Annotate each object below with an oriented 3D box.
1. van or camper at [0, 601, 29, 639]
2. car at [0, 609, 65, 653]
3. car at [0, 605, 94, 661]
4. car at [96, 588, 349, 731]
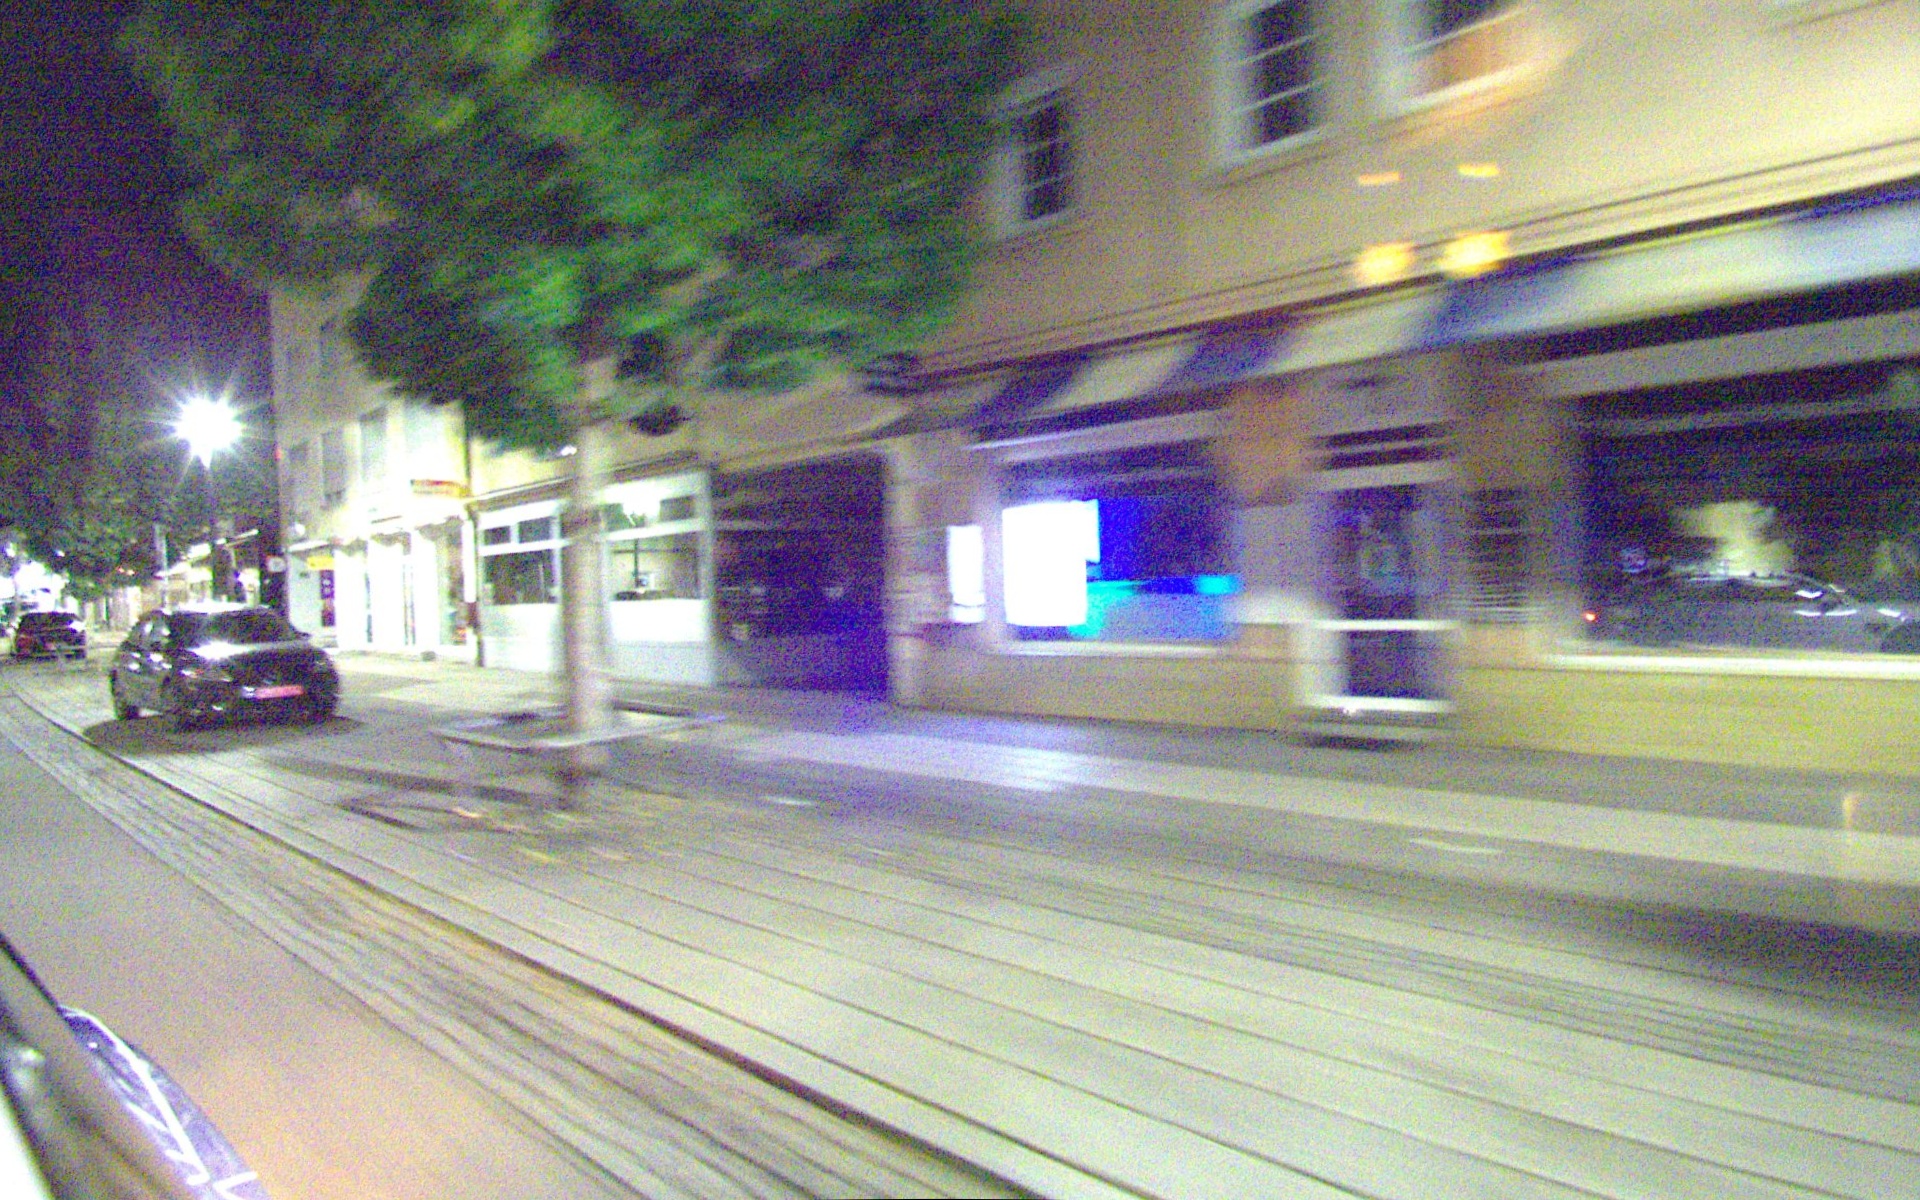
[{"bbox_3d":[-52.688,1.082,55.599,1.822,1.956,5.163,-3,2,-39],"label":"van or camper"},{"bbox_3d":[-35.149,1.125,38.240,3.848,1.488,1.709,-1,2,45],"label":"car"},{"bbox_3d":[-29.755,1.017,32.854,5.010,1.498,1.997,-1,4,45],"label":"car"},{"bbox_3d":[-9.770,0.682,13.290,4.227,1.555,1.657,-1,2,40],"label":"car"}]
